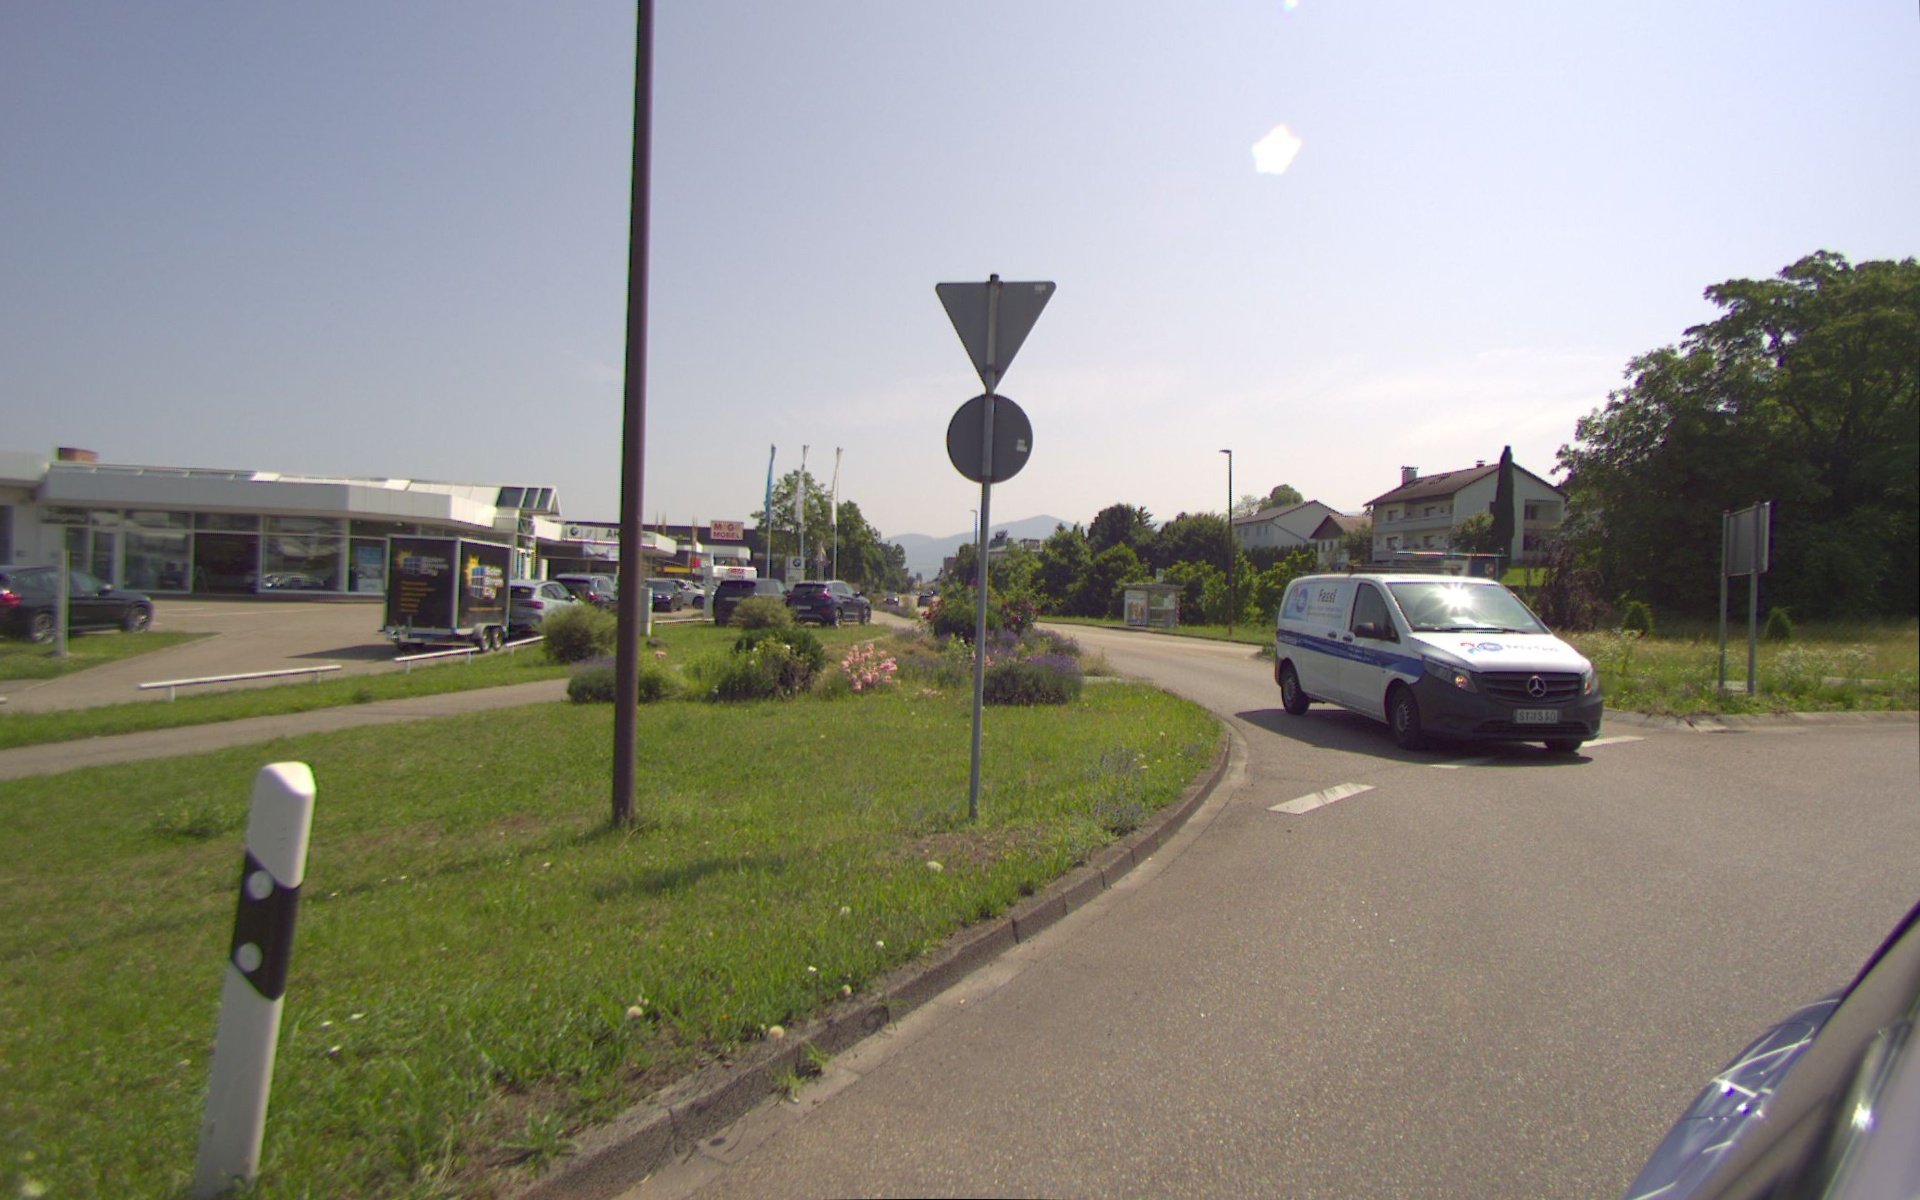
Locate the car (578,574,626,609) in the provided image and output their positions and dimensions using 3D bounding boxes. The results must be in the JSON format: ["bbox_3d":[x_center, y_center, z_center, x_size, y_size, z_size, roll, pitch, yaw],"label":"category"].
[{"bbox_3d":[-17.728,-0.404,50.276,1.549,1.675,3.703,0,0,-8],"label":"car"}]

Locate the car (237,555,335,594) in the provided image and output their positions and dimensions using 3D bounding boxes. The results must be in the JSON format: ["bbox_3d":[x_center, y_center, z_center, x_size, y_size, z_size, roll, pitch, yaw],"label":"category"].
[{"bbox_3d":[-29.469,-1.119,44.398,1.871,1.606,4.046,1,1,-6],"label":"car"}]

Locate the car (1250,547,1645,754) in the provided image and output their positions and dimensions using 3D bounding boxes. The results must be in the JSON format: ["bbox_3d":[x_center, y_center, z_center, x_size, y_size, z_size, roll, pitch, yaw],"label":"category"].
[{"bbox_3d":[5.416,0.481,12.270,1.823,1.962,5.235,0,0,-5],"label":"car"}]

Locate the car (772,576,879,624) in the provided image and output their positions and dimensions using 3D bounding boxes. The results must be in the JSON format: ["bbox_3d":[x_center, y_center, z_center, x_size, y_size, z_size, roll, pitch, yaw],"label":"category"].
[{"bbox_3d":[-4.628,-0.041,35.599,1.887,1.531,4.345,2,1,21],"label":"car"}]

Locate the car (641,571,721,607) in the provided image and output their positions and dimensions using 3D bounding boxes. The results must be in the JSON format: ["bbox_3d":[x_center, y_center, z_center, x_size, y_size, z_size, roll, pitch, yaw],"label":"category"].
[{"bbox_3d":[-15.945,-0.628,58.027,4.175,2.039,2.002,0,0,-7],"label":"car"}]

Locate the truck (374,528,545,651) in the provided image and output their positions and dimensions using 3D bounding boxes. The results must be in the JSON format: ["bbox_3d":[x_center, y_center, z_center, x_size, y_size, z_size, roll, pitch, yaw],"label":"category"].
[{"bbox_3d":[-12.265,-0.287,25.294,1.910,2.698,5.634,1,1,-6],"label":"truck"}]

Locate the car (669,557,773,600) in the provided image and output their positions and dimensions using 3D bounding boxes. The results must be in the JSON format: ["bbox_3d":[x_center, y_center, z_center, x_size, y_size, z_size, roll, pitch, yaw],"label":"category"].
[{"bbox_3d":[-9.307,-0.834,39.798,1.887,1.531,4.345,2,1,21],"label":"car"}]

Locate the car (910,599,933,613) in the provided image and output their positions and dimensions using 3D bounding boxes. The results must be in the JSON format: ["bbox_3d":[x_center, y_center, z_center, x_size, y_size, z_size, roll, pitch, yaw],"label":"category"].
[{"bbox_3d":[-4.540,0.676,118.027,1.736,1.502,4.050,1,1,-15],"label":"car"}]

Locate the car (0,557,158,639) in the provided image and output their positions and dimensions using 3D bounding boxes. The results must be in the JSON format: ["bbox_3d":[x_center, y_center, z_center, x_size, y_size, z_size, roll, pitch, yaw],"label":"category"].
[{"bbox_3d":[-19.971,-0.120,22.166,1.909,1.518,4.437,0,4,-11],"label":"car"}]

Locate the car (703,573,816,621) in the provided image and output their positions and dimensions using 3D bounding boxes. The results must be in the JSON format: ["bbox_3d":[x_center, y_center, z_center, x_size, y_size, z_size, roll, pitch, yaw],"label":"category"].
[{"bbox_3d":[-6.960,-0.127,35.619,1.887,1.531,4.345,2,1,21],"label":"car"}]

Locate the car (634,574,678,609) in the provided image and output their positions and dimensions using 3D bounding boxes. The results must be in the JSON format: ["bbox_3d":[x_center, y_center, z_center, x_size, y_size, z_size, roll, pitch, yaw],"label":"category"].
[{"bbox_3d":[-14.963,-0.389,50.003,1.549,1.675,3.703,0,0,-8],"label":"car"}]
